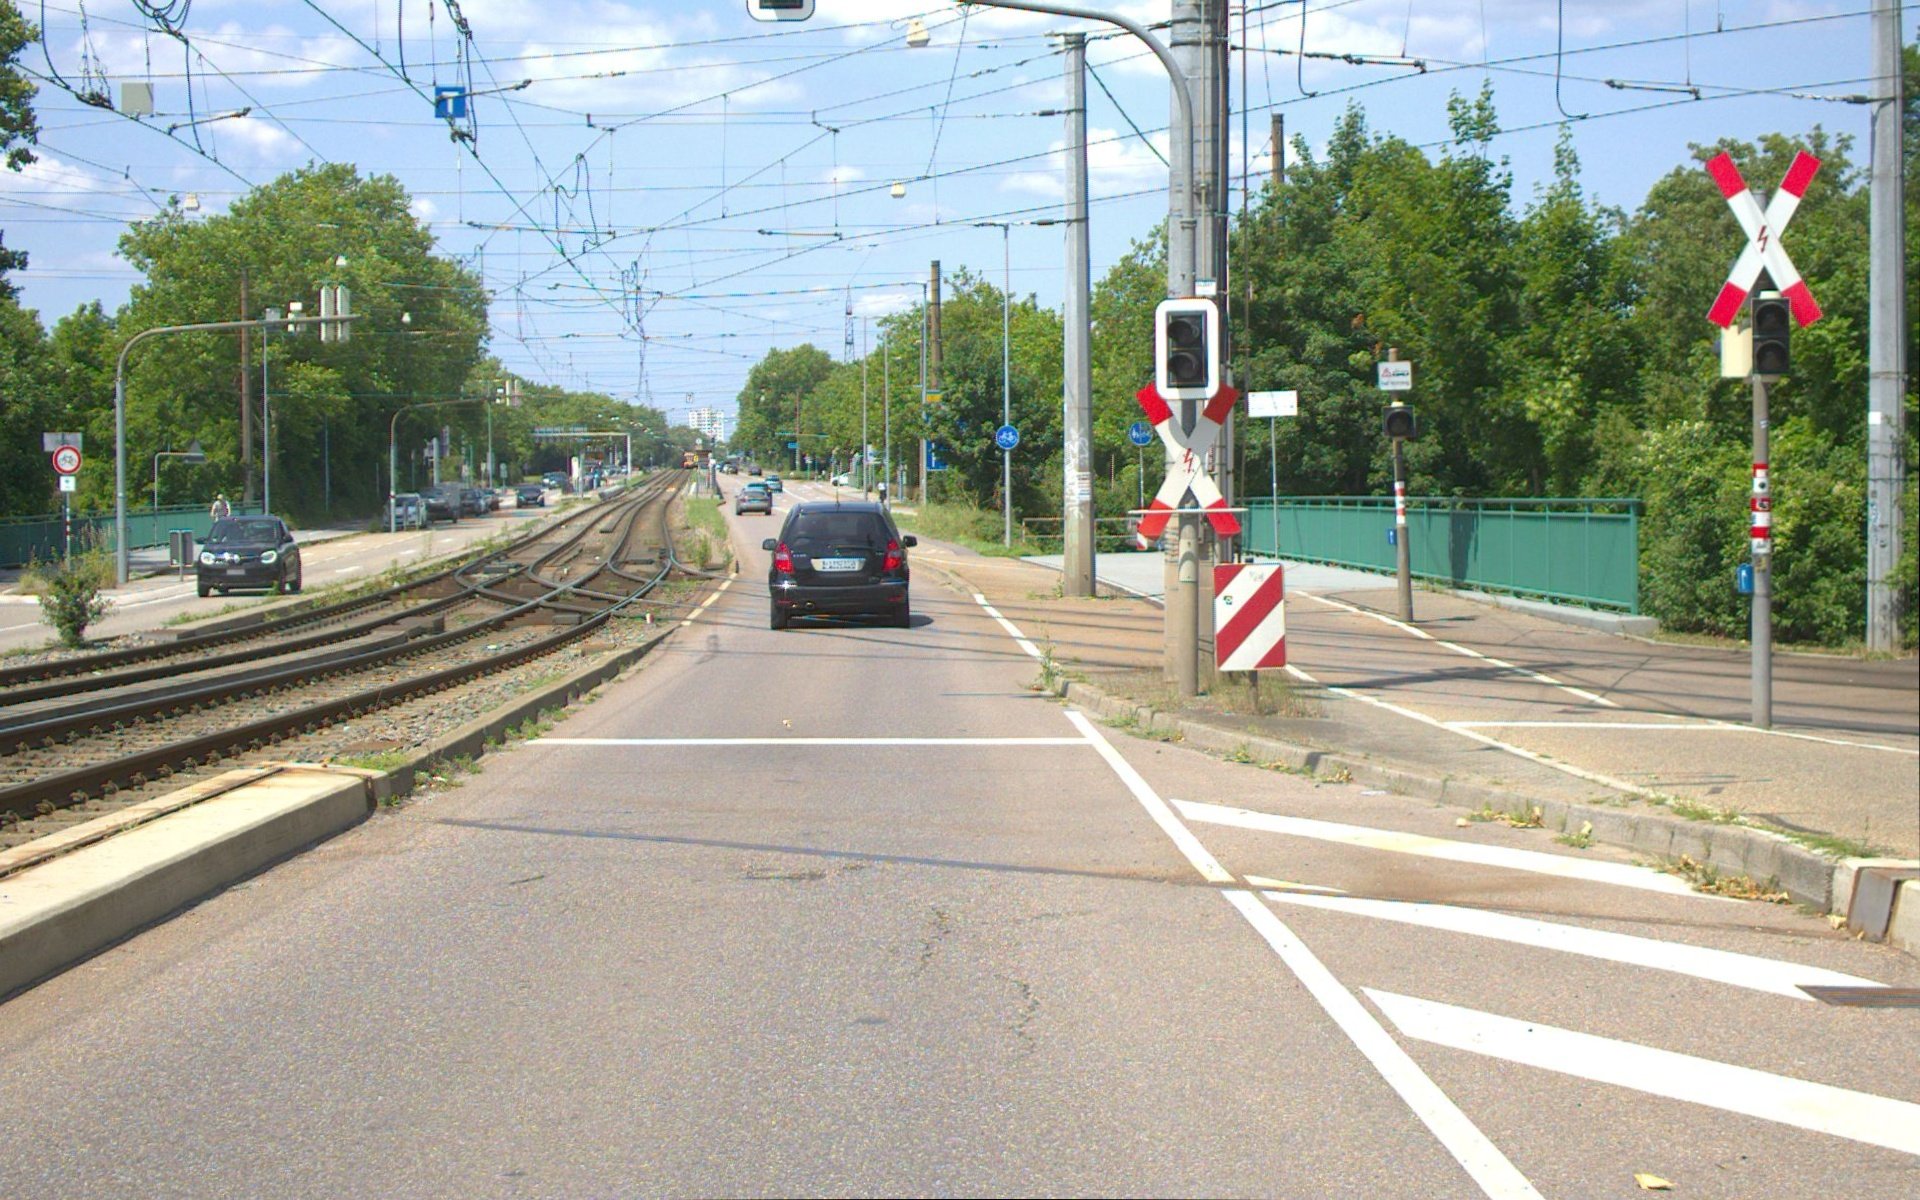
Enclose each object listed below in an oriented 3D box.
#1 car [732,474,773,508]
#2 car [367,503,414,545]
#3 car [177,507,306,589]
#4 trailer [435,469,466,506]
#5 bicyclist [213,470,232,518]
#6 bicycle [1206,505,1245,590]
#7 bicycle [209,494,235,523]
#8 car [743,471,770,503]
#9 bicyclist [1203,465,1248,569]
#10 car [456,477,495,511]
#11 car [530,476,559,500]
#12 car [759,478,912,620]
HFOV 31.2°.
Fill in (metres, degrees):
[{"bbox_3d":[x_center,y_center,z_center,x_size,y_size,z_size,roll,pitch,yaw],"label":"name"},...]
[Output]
[{"bbox_3d":[-11.146,-5.888,185.222,1.885,1.634,4.001,3,3,0],"label":"car"},{"bbox_3d":[-26.396,-3.540,159.425,1.719,1.625,4.618,-3,4,-5],"label":"car"},{"bbox_3d":[-14.086,-1.042,67.561,1.705,1.505,3.733,-1,2,0],"label":"car"},{"bbox_3d":[-28.932,-6.411,195.266,1.609,2.006,3.917,1,3,-7],"label":"trailer"},{"bbox_3d":[-22.823,-3.292,106.397,0.456,1.469,0.633,0,2,-2],"label":"bicyclist"},{"bbox_3d":[3.867,-0.777,50.152,0.432,1.148,1.855,1,3,1],"label":"bicycle"},{"bbox_3d":[-22.819,-2.839,106.288,0.469,0.865,1.743,0,2,-2],"label":"bicycle"},{"bbox_3d":[-13.773,-7.637,232.756,1.786,2.006,4.001,1,3,-4],"label":"car"},{"bbox_3d":[3.873,-1.209,50.157,0.585,1.489,0.558,1,3,1],"label":"bicyclist"},{"bbox_3d":[-29.633,-6.461,210.281,1.993,2.007,4.001,-1,1,-3],"label":"car"},{"bbox_3d":[-30.183,-8.146,249.611,1.875,1.714,5.332,0,2,-5],"label":"car"},{"bbox_3d":[-1.561,-0.703,44.285,1.853,1.564,4.389,1,4,-1],"label":"car"}]
